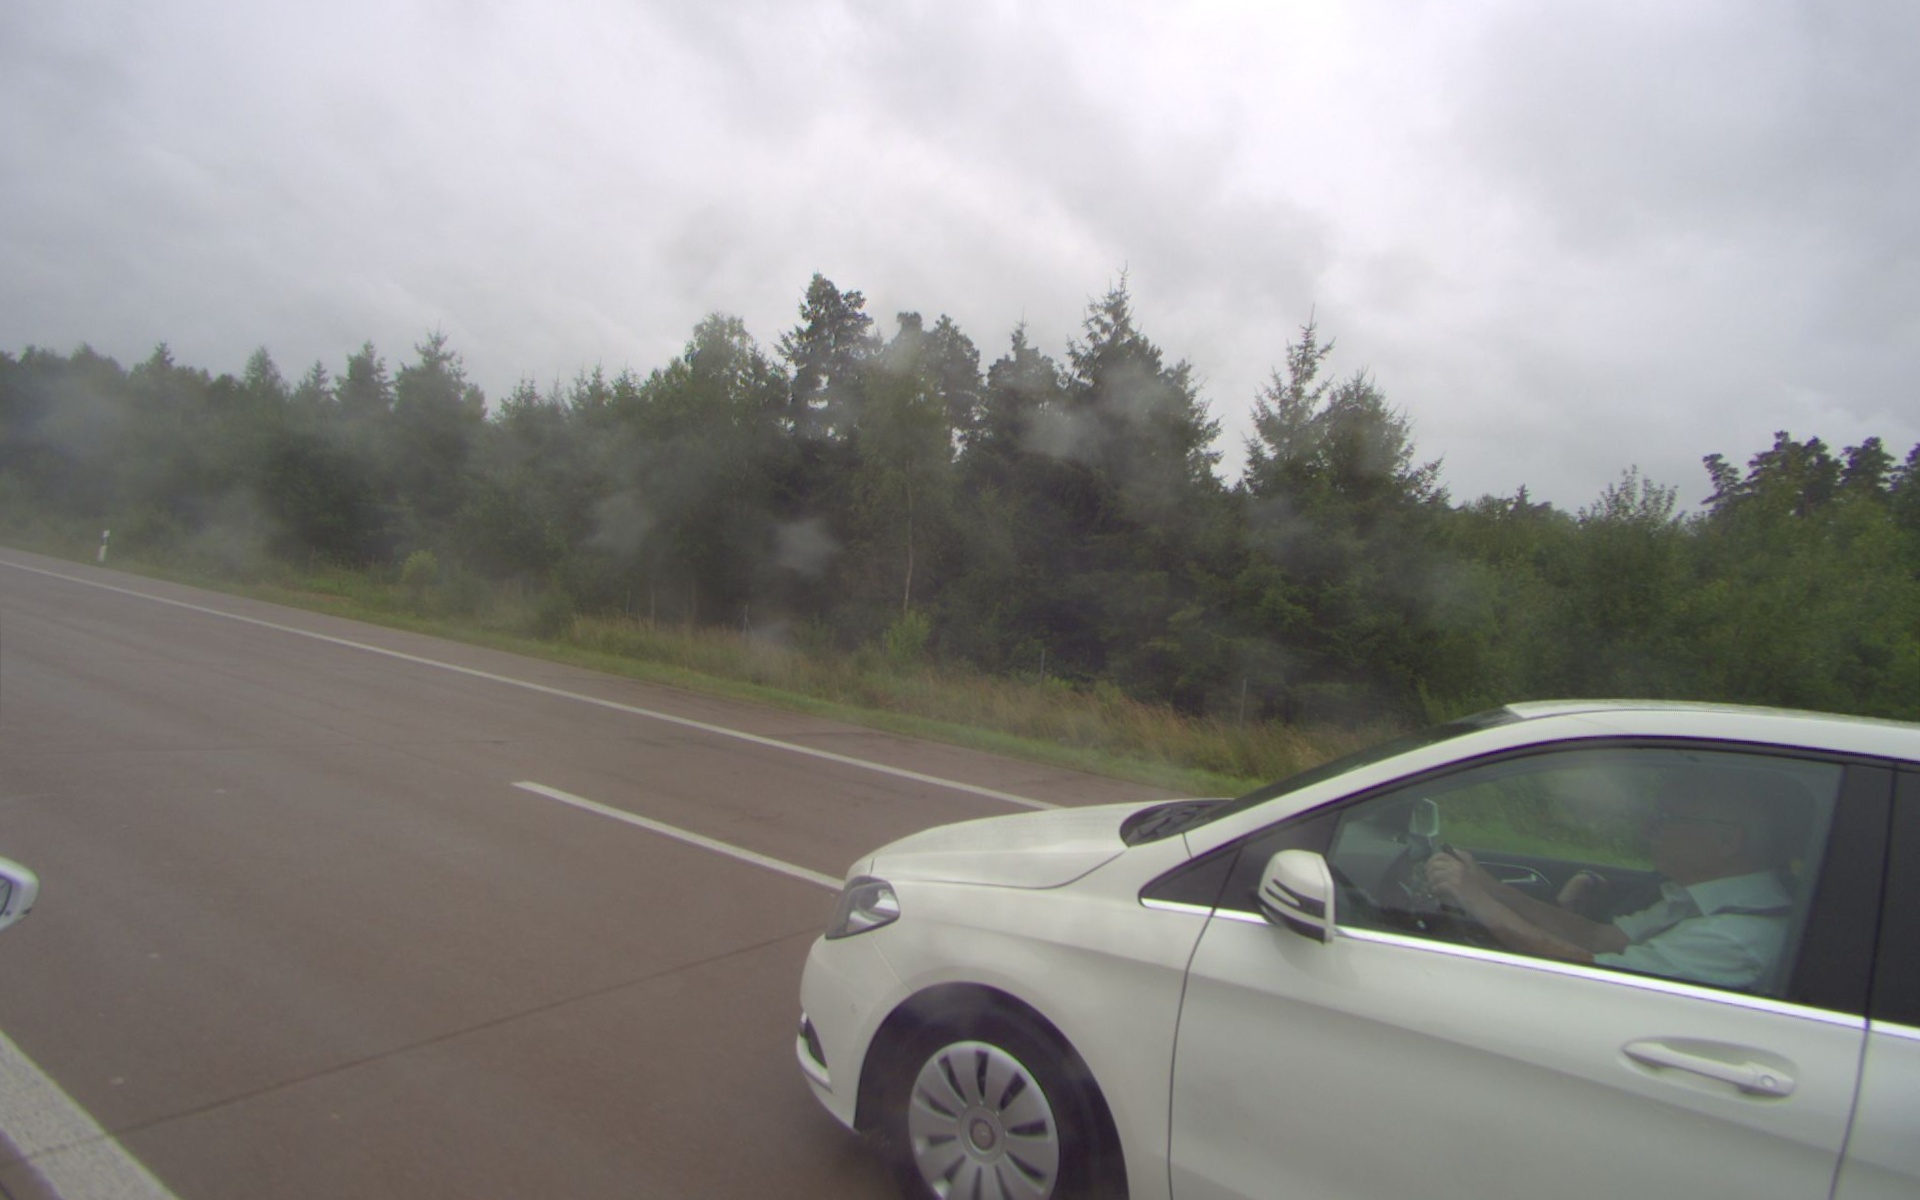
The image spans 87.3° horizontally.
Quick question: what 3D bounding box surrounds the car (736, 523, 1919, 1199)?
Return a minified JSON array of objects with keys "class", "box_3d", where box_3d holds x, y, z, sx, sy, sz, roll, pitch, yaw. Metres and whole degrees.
[{"class":"car","box_3d":[1.974,0.992,2.204,4.663,1.748,1.812,7,-2,30]}]
